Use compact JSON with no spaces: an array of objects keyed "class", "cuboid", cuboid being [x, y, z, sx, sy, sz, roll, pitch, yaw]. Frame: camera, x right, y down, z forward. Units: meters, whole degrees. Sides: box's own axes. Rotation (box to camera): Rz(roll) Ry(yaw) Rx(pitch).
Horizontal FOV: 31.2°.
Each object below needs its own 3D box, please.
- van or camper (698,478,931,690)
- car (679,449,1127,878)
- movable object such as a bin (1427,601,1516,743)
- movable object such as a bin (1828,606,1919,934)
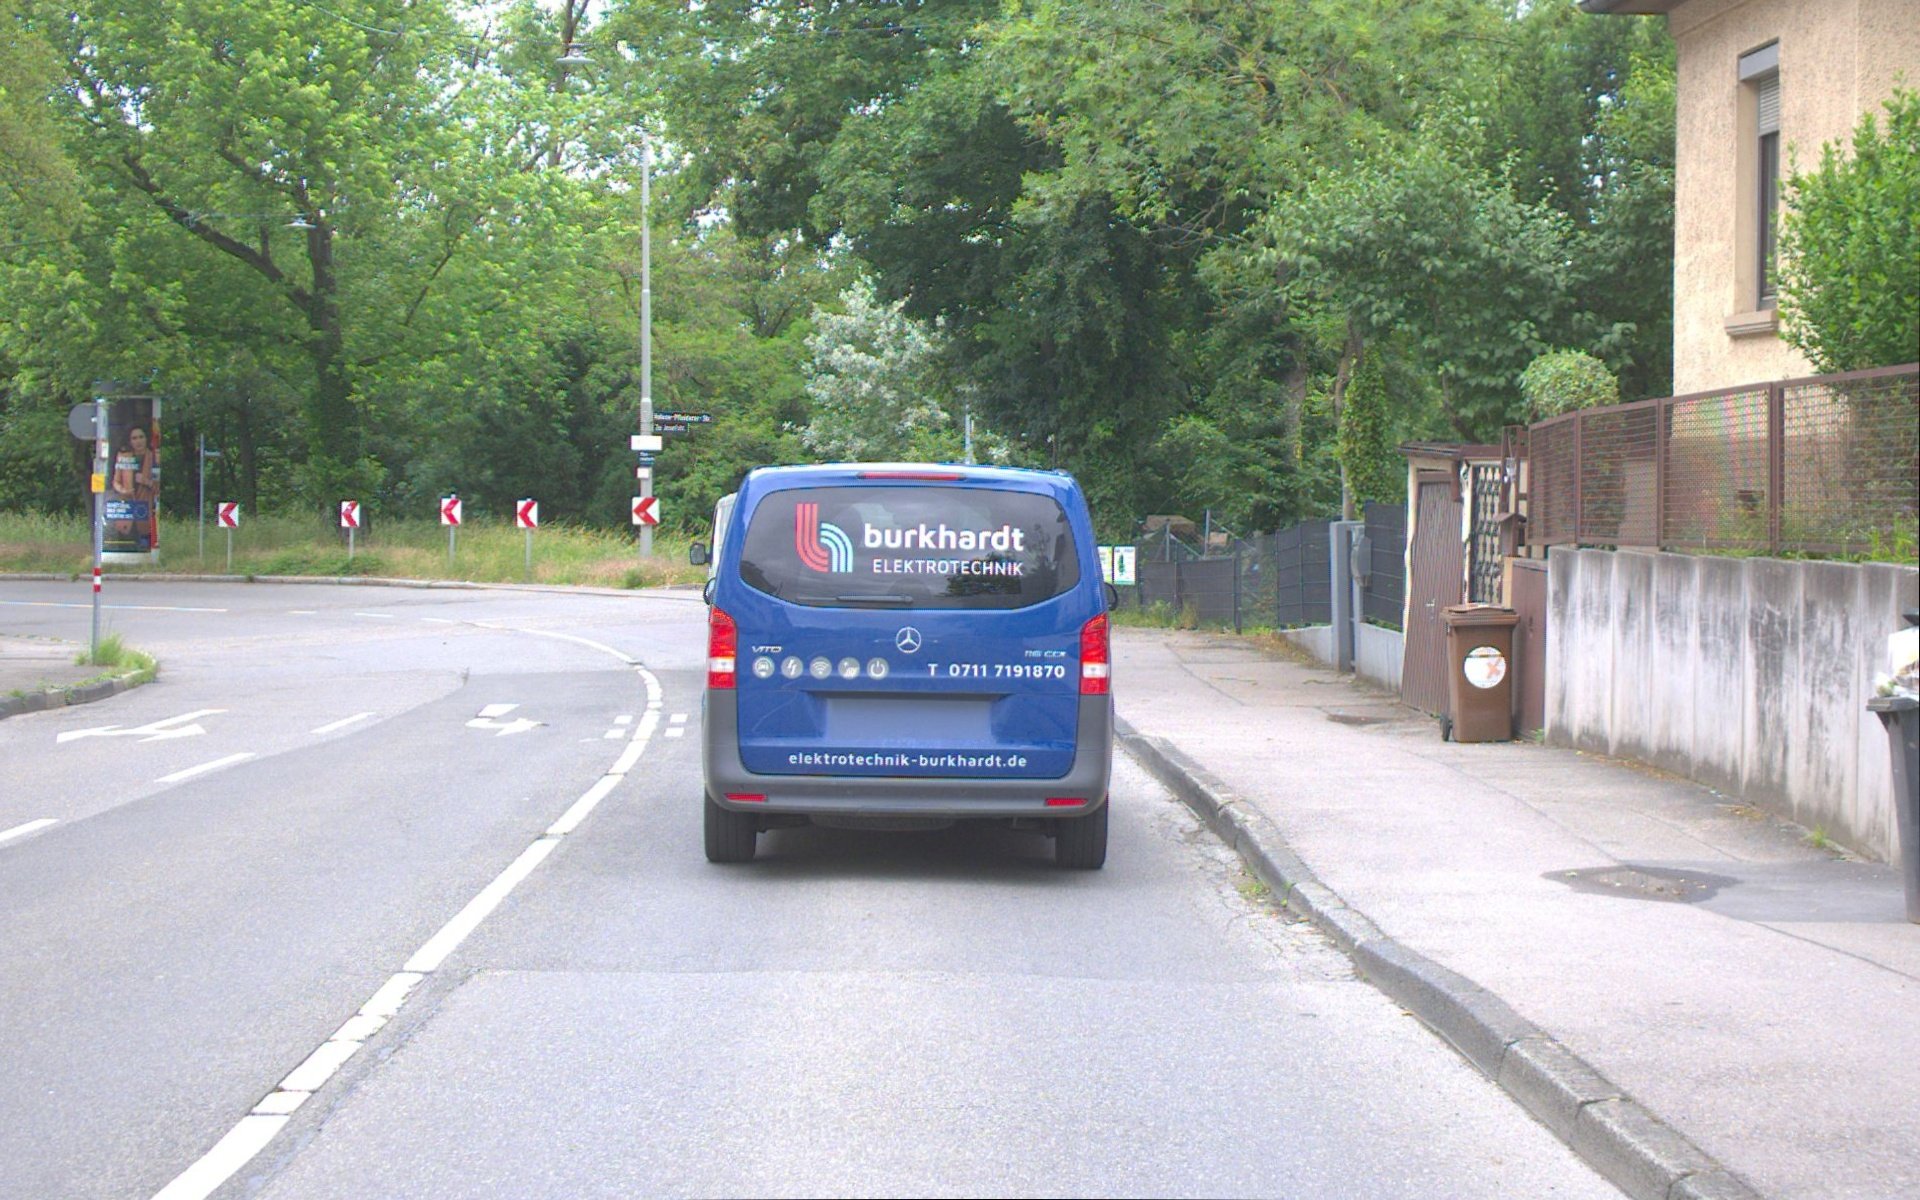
[{"class":"van or camper","cuboid":[-1.576,-0.240,35.519,2.019,1.950,4.897,-3,2,-6]},{"class":"car","cuboid":[-0.382,0.233,17.083,1.913,1.831,4.294,1,1,-4]},{"class":"movable object such as a bin","cuboid":[3.459,0.482,23.287,0.461,0.921,0.566,-2,1,-2]},{"class":"movable object such as a bin","cuboid":[3.644,0.621,12.939,0.527,1.174,0.634,-2,1,-2]}]
